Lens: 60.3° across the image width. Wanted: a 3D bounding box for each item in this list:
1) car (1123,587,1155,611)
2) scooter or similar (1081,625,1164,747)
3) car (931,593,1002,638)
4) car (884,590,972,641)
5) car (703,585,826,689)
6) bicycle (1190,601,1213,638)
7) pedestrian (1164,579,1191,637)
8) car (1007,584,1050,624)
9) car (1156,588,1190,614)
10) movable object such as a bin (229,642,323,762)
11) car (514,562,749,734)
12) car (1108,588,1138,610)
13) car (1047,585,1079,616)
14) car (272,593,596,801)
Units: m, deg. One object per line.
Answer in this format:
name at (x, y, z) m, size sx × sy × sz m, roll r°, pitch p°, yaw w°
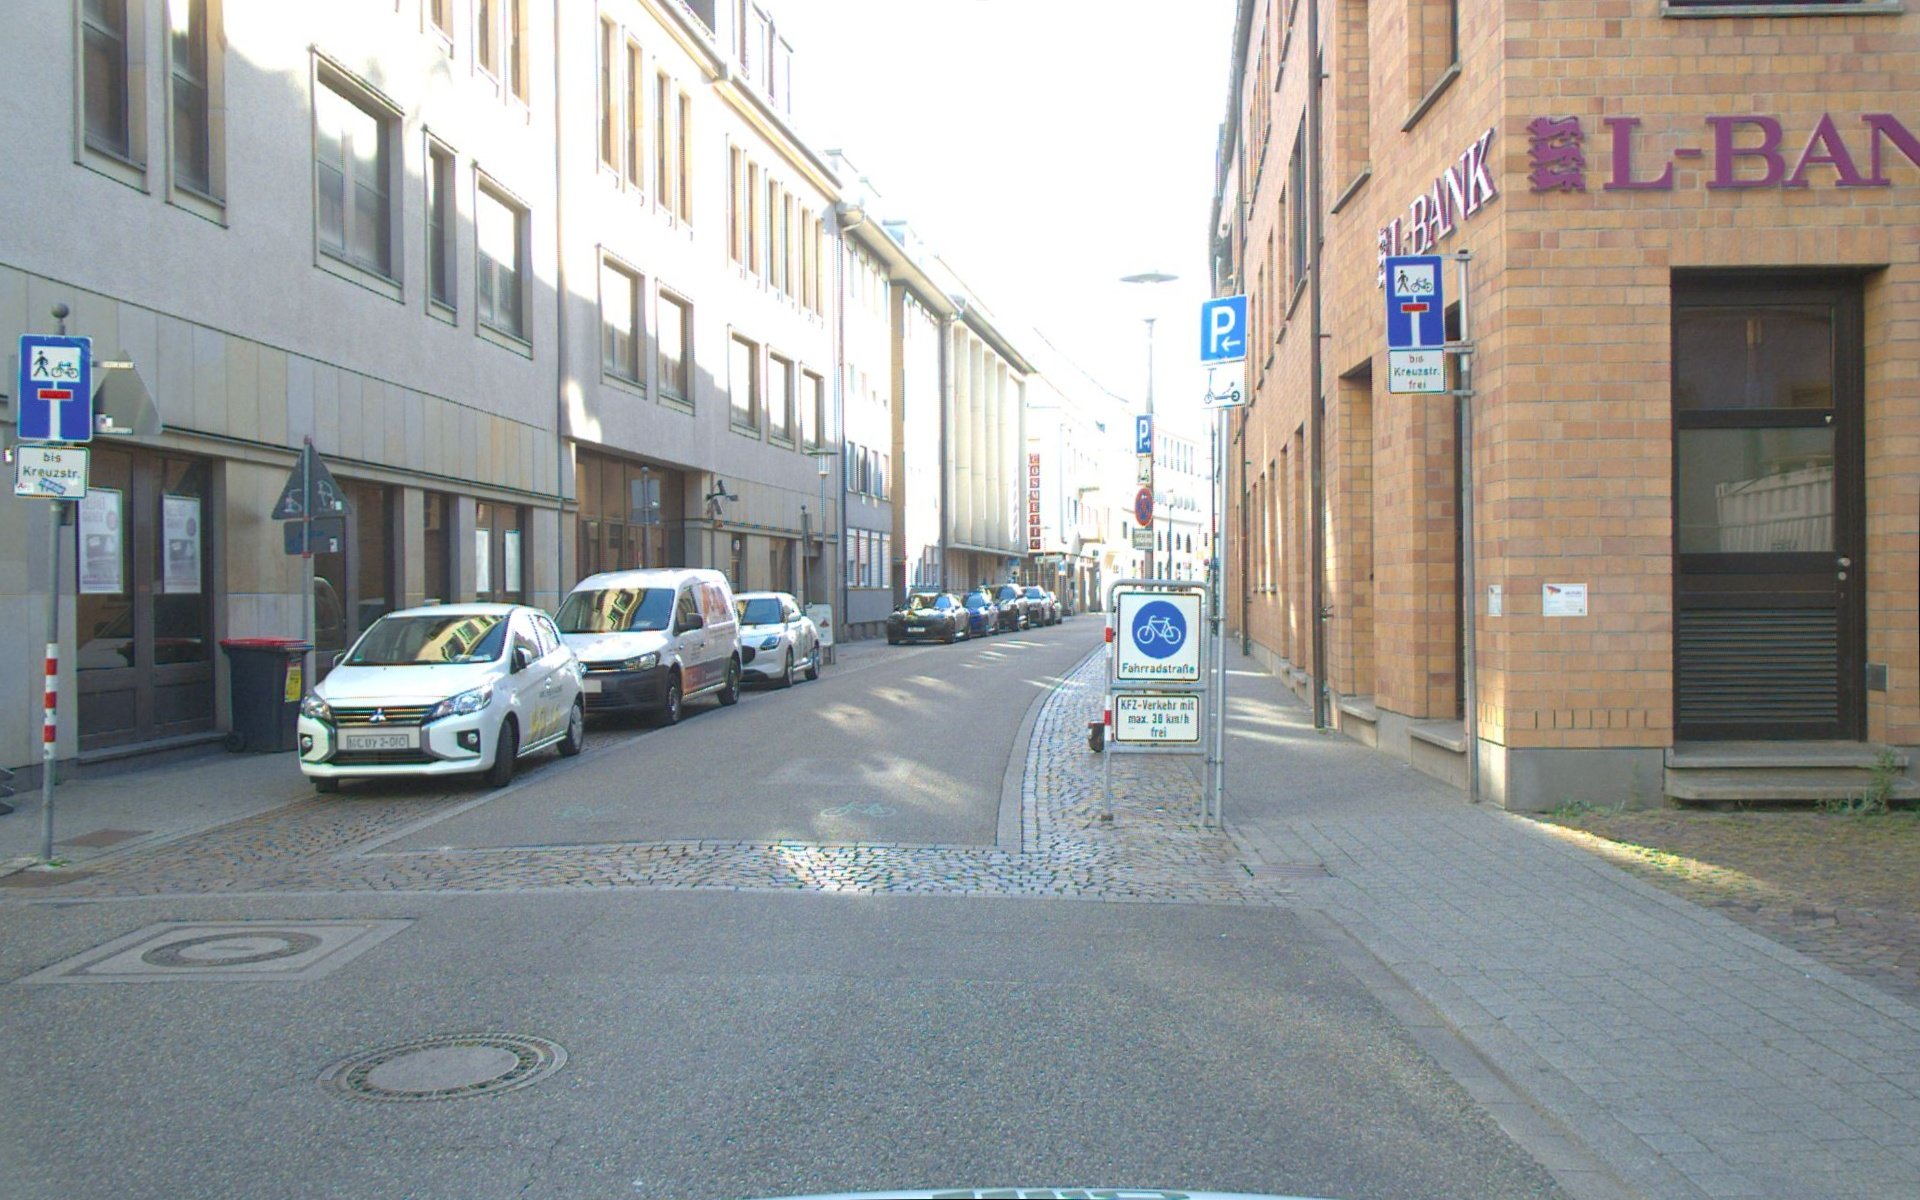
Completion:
car at (10.897, -0.082, 100.740) m, size 1.653 × 1.394 × 3.621 m, roll -1°, pitch 0°, yaw 11°
scooter or similar at (1.586, 0.838, 16.197) m, size 0.755 × 1.156 × 0.269 m, roll 2°, pitch 0°, yaw 1°
car at (0.245, 0.470, 53.633) m, size 1.687 × 1.364 × 4.004 m, roll -1°, pitch 0°, yaw 9°
car at (-0.875, 0.415, 47.421) m, size 1.841 × 1.355 × 4.104 m, roll -1°, pitch 0°, yaw 9°
car at (-3.105, 0.543, 26.780) m, size 1.244 × 1.533 × 3.404 m, roll -2°, pitch 0°, yaw 5°
bicycle at (6.999, 0.543, 47.958) m, size 0.500 × 1.011 × 2.649 m, roll 0°, pitch 0°, yaw 5°
pedestrian at (6.723, 0.253, 51.037) m, size 0.651 × 1.761 × 0.839 m, roll 2°, pitch 0°, yaw -2°
car at (2.791, 0.142, 66.919) m, size 1.310 × 1.520 × 3.513 m, roll -1°, pitch 0°, yaw 9°
car at (12.085, 0.034, 93.759) m, size 1.653 × 1.394 × 3.621 m, roll -1°, pitch 0°, yaw 11°
movable object such as a bin at (-6.522, 0.963, 15.800) m, size 0.597 × 1.079 × 0.712 m, roll 2°, pitch 0°, yaw -4°
car at (-3.929, 0.508, 20.575) m, size 1.635 × 1.850 × 4.554 m, roll -2°, pitch 0°, yaw 4°
car at (10.739, -0.053, 108.929) m, size 1.653 × 1.394 × 3.621 m, roll -1°, pitch 0°, yaw 11°
car at (5.276, 0.024, 84.491) m, size 1.310 × 1.520 × 3.350 m, roll -1°, pitch 0°, yaw 9°
car at (-4.487, 0.745, 14.696) m, size 1.636 × 1.533 × 3.793 m, roll -2°, pitch 0°, yaw -1°
